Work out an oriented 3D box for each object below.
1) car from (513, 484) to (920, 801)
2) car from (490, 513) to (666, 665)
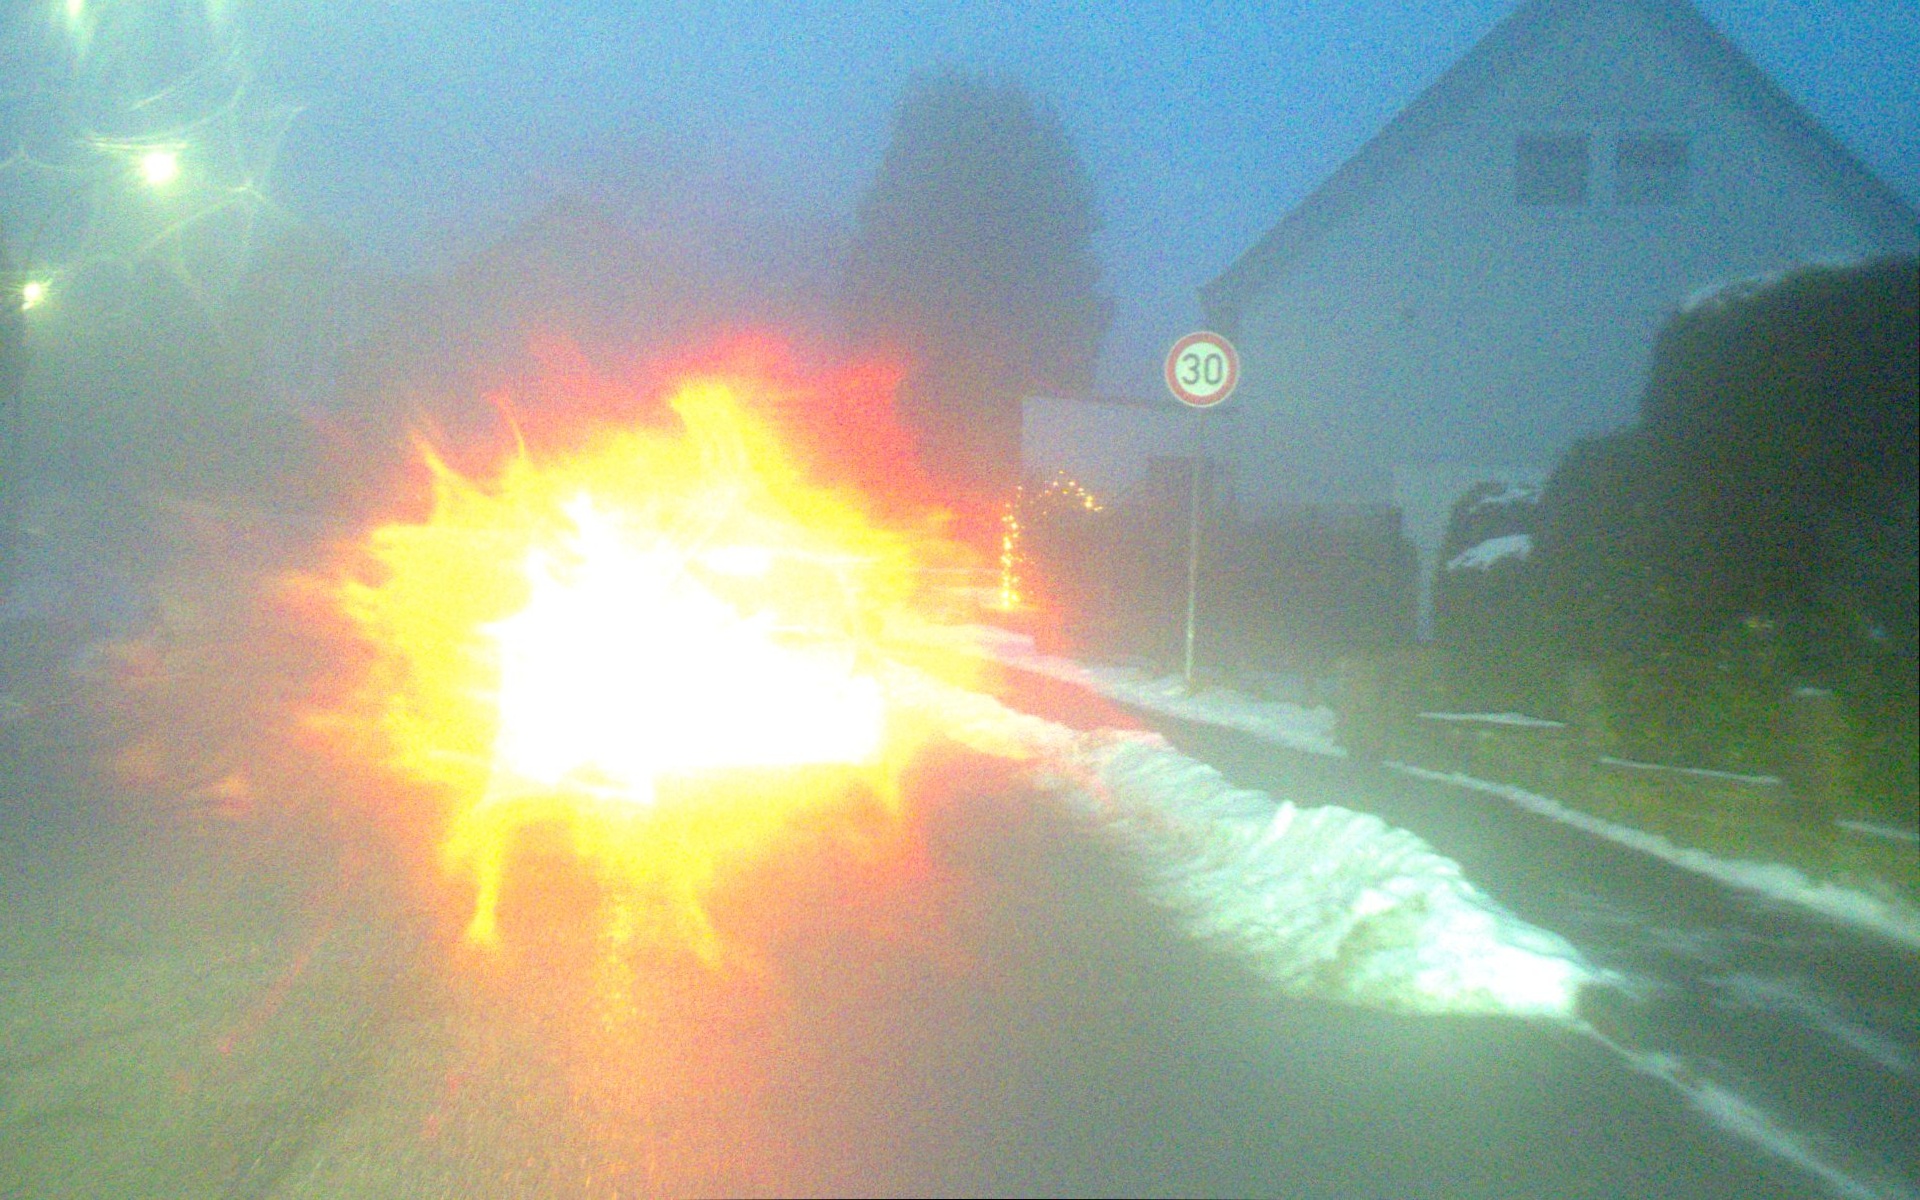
[{"bbox_3d":[-1.493,0.222,19.545,1.897,1.604,4.001,0,0,-10],"label":"car"},{"bbox_3d":[-4.594,-0.119,41.114,1.993,1.731,3.879,0,0,-7],"label":"car"}]
